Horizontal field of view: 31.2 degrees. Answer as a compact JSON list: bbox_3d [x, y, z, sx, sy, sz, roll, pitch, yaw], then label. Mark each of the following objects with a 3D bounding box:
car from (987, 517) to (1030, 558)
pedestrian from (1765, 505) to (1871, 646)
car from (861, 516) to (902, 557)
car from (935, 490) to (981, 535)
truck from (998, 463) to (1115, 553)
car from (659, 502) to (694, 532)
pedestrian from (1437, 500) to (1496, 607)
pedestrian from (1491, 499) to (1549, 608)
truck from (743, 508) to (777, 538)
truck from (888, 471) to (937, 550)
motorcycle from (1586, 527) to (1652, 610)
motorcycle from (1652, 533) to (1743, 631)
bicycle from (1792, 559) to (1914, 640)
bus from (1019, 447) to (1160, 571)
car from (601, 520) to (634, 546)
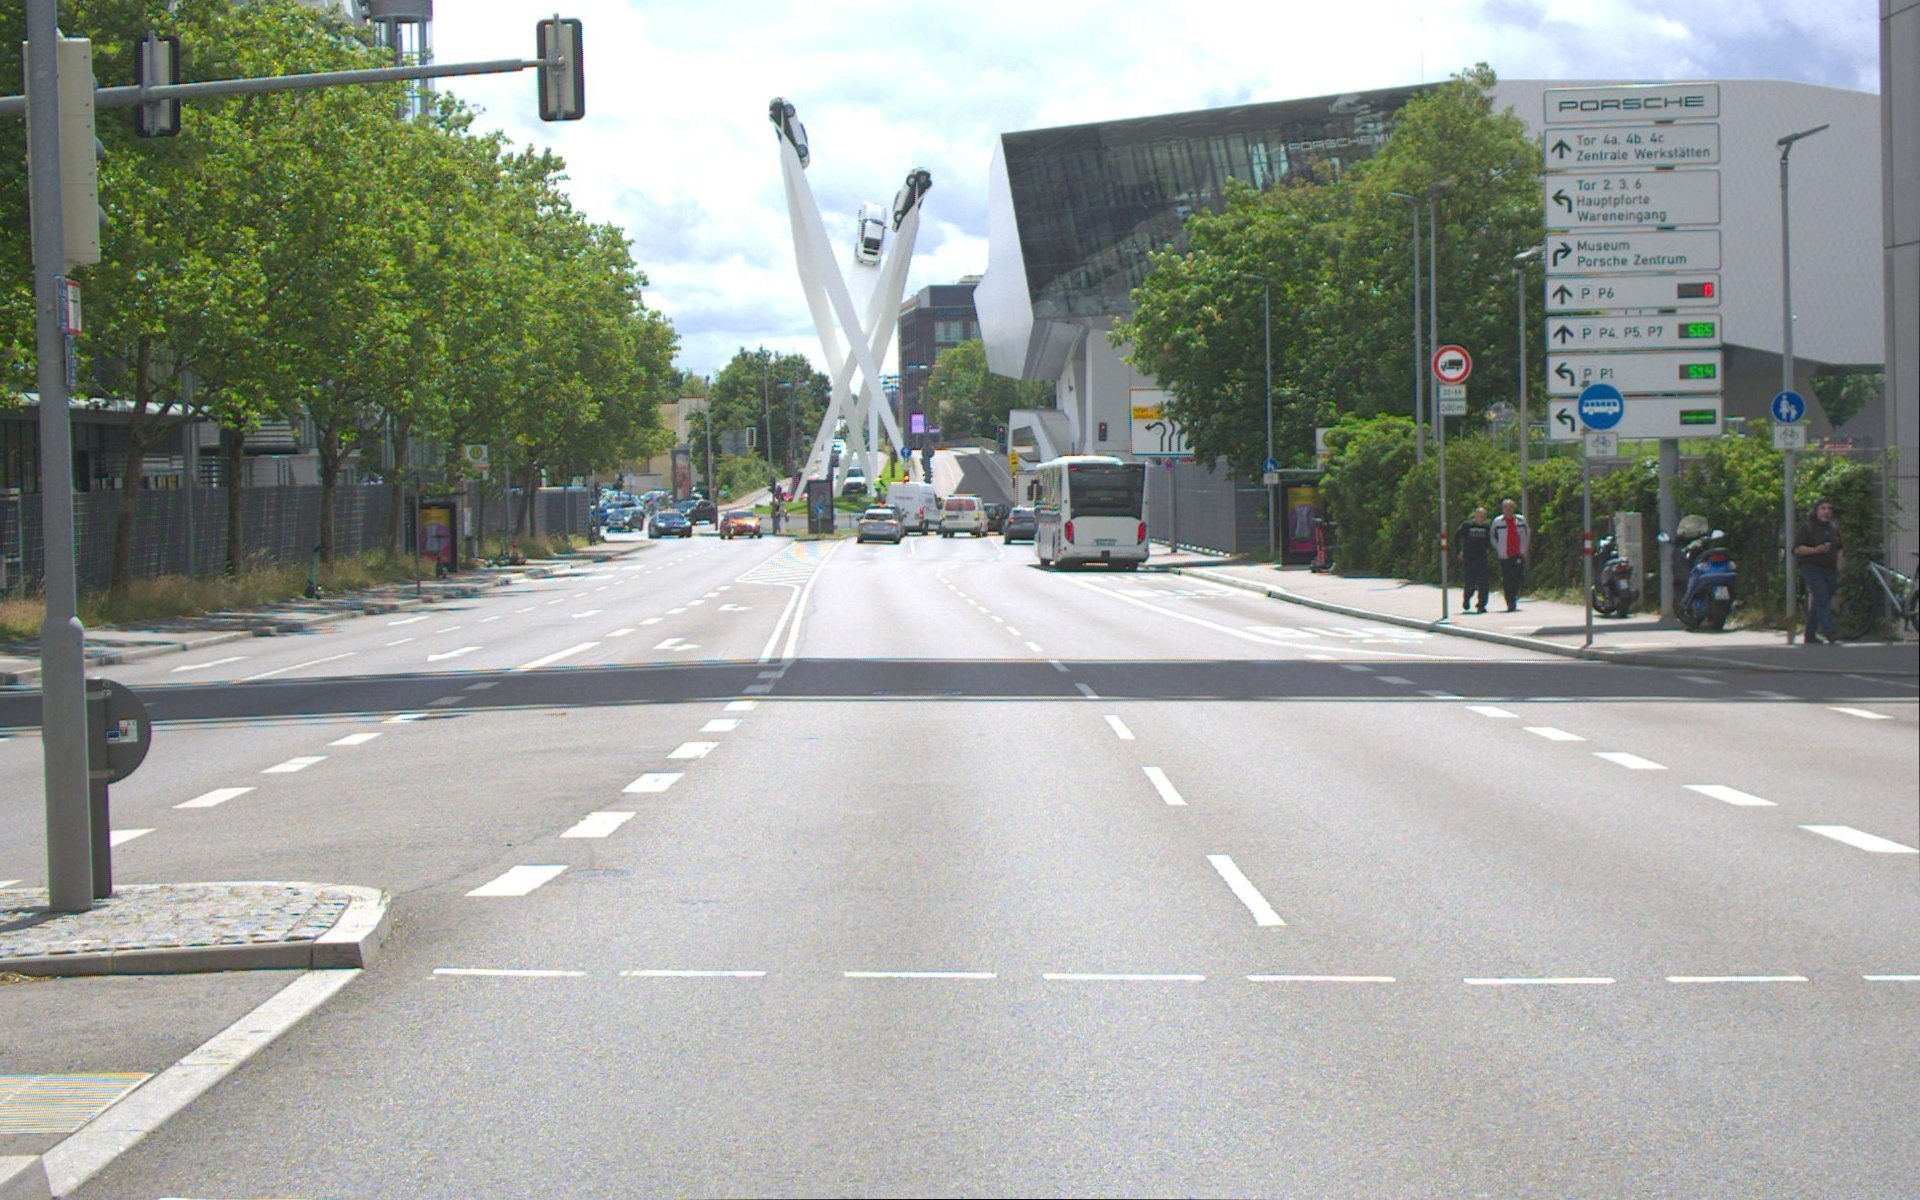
[{"bbox_3d":[2.068,-2.689,147.220,1.738,1.735,3.691,0,1,-1],"label":"car"},{"bbox_3d":[9.982,-0.295,39.984,0.849,1.619,0.954,1,1,41],"label":"pedestrian"},{"bbox_3d":[-3.371,-2.743,147.794,1.738,1.735,3.691,0,1,-1],"label":"car"},{"bbox_3d":[-0.097,-4.190,165.304,1.994,2.007,3.999,1,0,3],"label":"car"},{"bbox_3d":[4.900,-4.548,171.635,3.455,4.376,9.412,0,1,17],"label":"truck"},{"bbox_3d":[-15.259,-4.468,185.275,1.818,1.532,3.679,-2,1,-4],"label":"car"},{"bbox_3d":[8.124,-0.744,55.162,0.820,1.701,0.881,0,1,-1],"label":"pedestrian"},{"bbox_3d":[8.965,-0.753,55.021,0.820,1.735,0.637,0,1,-1],"label":"pedestrian"},{"bbox_3d":[-10.114,-3.881,173.702,1.583,1.532,3.679,0,1,-6],"label":"truck"},{"bbox_3d":[-2.370,-4.453,172.094,2.392,3.884,6.177,0,1,-1],"label":"truck"},{"bbox_3d":[10.098,-0.492,52.744,0.574,1.199,2.024,-2,2,-1],"label":"motorcycle"},{"bbox_3d":[9.616,-0.246,44.887,0.706,1.199,2.024,-2,2,-1],"label":"motorcycle"},{"bbox_3d":[10.622,-0.016,40.967,0.397,0.933,1.929,0,1,-19],"label":"bicycle"},{"bbox_3d":[3.764,-2.684,102.861,3.452,3.531,10.607,0,1,-2],"label":"bus"},{"bbox_3d":[-21.458,-4.188,215.398,1.818,1.532,3.679,-2,1,-2],"label":"car"}]
